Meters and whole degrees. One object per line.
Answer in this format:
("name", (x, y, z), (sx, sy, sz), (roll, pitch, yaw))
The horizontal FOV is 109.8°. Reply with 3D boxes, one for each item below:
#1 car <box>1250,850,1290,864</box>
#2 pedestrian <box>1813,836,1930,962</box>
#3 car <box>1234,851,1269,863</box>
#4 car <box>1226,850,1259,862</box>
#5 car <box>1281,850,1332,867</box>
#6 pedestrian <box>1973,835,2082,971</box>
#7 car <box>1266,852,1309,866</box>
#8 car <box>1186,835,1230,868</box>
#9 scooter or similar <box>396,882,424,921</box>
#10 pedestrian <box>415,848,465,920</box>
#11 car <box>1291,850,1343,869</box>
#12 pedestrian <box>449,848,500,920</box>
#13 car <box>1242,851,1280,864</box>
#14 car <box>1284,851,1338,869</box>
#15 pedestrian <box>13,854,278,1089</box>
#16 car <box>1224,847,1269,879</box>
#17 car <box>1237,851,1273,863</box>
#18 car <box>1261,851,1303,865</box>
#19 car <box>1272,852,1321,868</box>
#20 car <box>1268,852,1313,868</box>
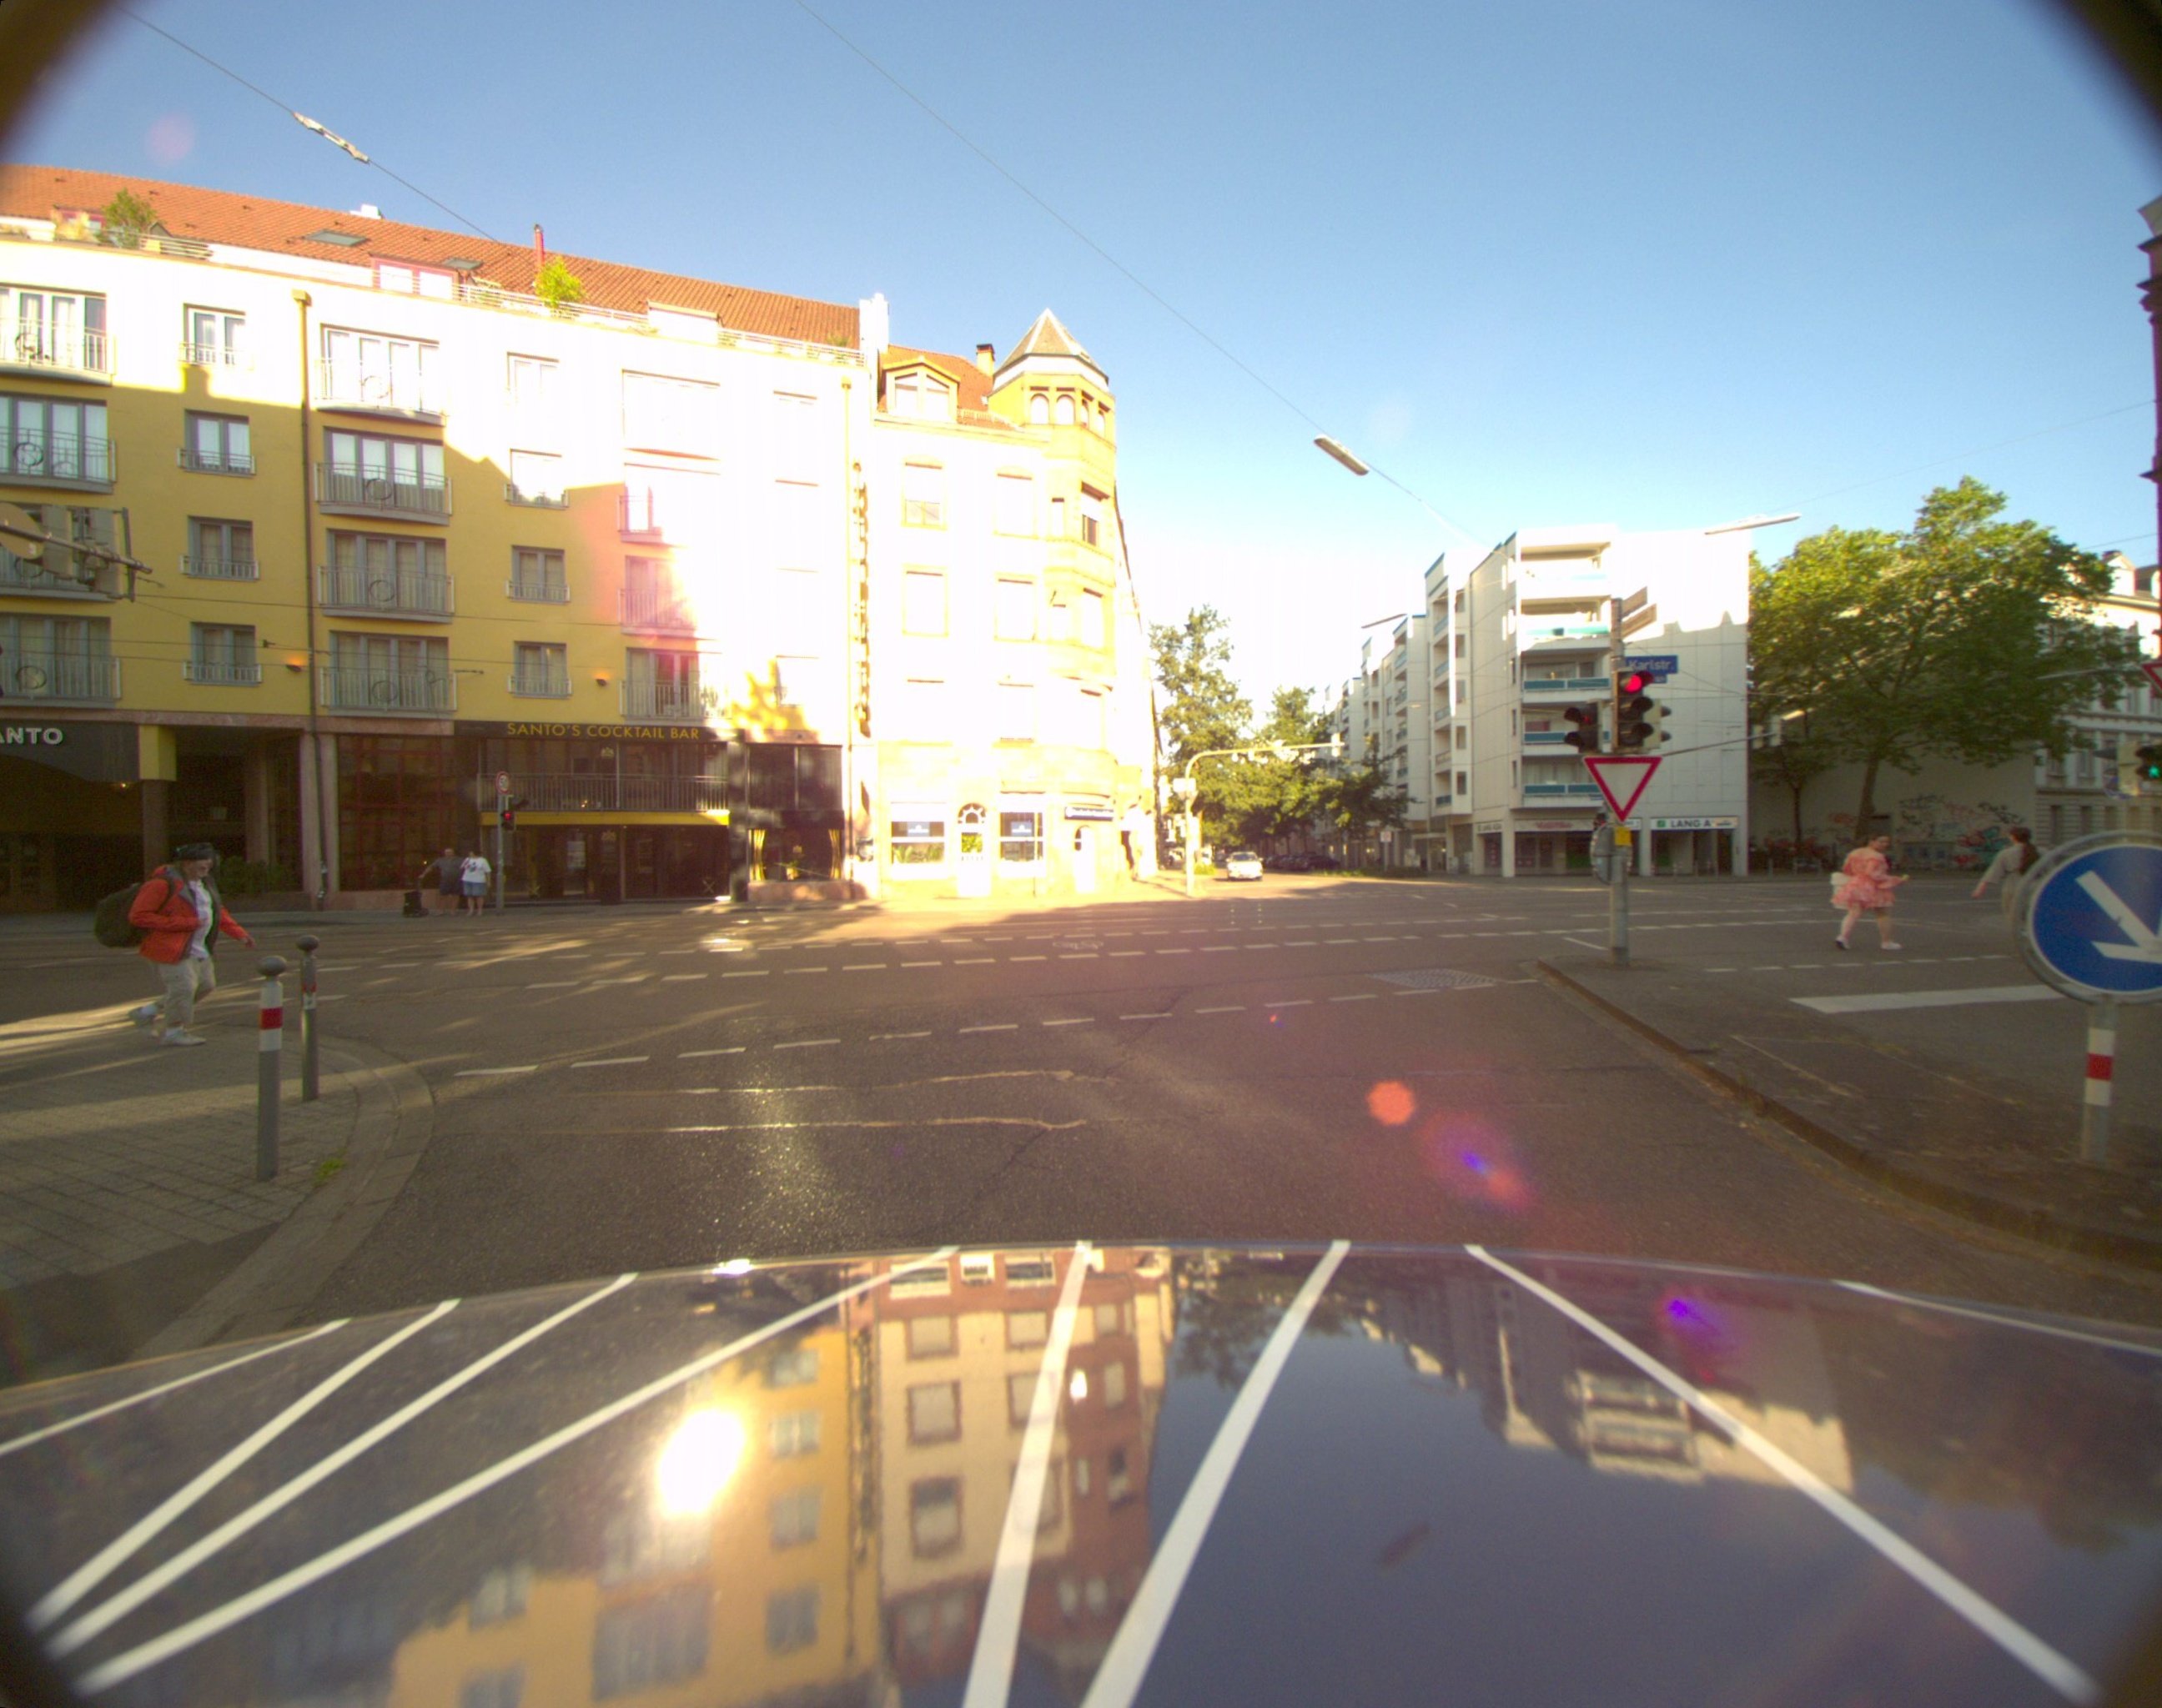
("car", (22.843, 0.353, 91.856), (4.301, 1.576, 2.000), (-1, 0, 1))
("pedestrian", (11.137, 0.597, 10.716), (0.985, 1.688, 0.868), (-1, 1, -26))
("car", (22.919, 0.362, 102.141), (4.301, 1.576, 2.000), (-1, 0, 1))
("car", (23.209, 0.300, 109.371), (4.301, 1.576, 2.000), (-1, 0, 1))
("car", (21.600, 0.438, 72.823), (4.301, 1.576, 2.000), (-1, 0, 0))
("pedestrian", (12.494, 0.609, 10.065), (0.986, 1.688, 0.867), (-1, 1, -41))
("car", (22.945, 0.549, 84.551), (4.301, 1.576, 2.000), (-1, 0, 1))
("car", (12.610, -0.268, 76.110), (3.323, 3.160, 8.084), (0, 0, 2))
("scooter or similar", (-17.325, 1.223, 19.618), (0.357, 0.972, 0.422), (-1, 4, -17))
("pedestrian", (-16.878, 0.778, 20.027), (0.679, 1.831, 0.725), (-1, 4, -15))
("car", (21.054, 0.465, 67.814), (3.997, 1.576, 2.000), (-1, 0, 0))
("pedestrian", (-15.918, 0.770, 19.957), (0.736, 1.831, 0.725), (-1, 4, -15))
("car", (22.706, 0.491, 95.873), (4.301, 1.576, 2.000), (-1, 0, 1))
("car", (21.237, 0.551, 70.257), (4.301, 1.576, 2.000), (-1, 0, 0))
("pedestrian", (-7.489, 0.845, 6.193), (1.176, 1.670, 1.005), (-1, 1, -41))
("car", (9.464, 0.498, 43.736), (1.998, 1.739, 4.001), (0, 0, 5))
("car", (22.713, 0.398, 99.304), (4.301, 1.576, 2.000), (-1, 0, 1))
("car", (23.024, 0.483, 86.962), (4.301, 1.576, 2.000), (-1, 0, 1))
("car", (21.344, 0.585, 75.253), (4.301, 1.576, 2.000), (-1, 0, 0))
("car", (22.332, 0.644, 81.075), (4.301, 1.576, 2.000), (-1, 0, 1))
